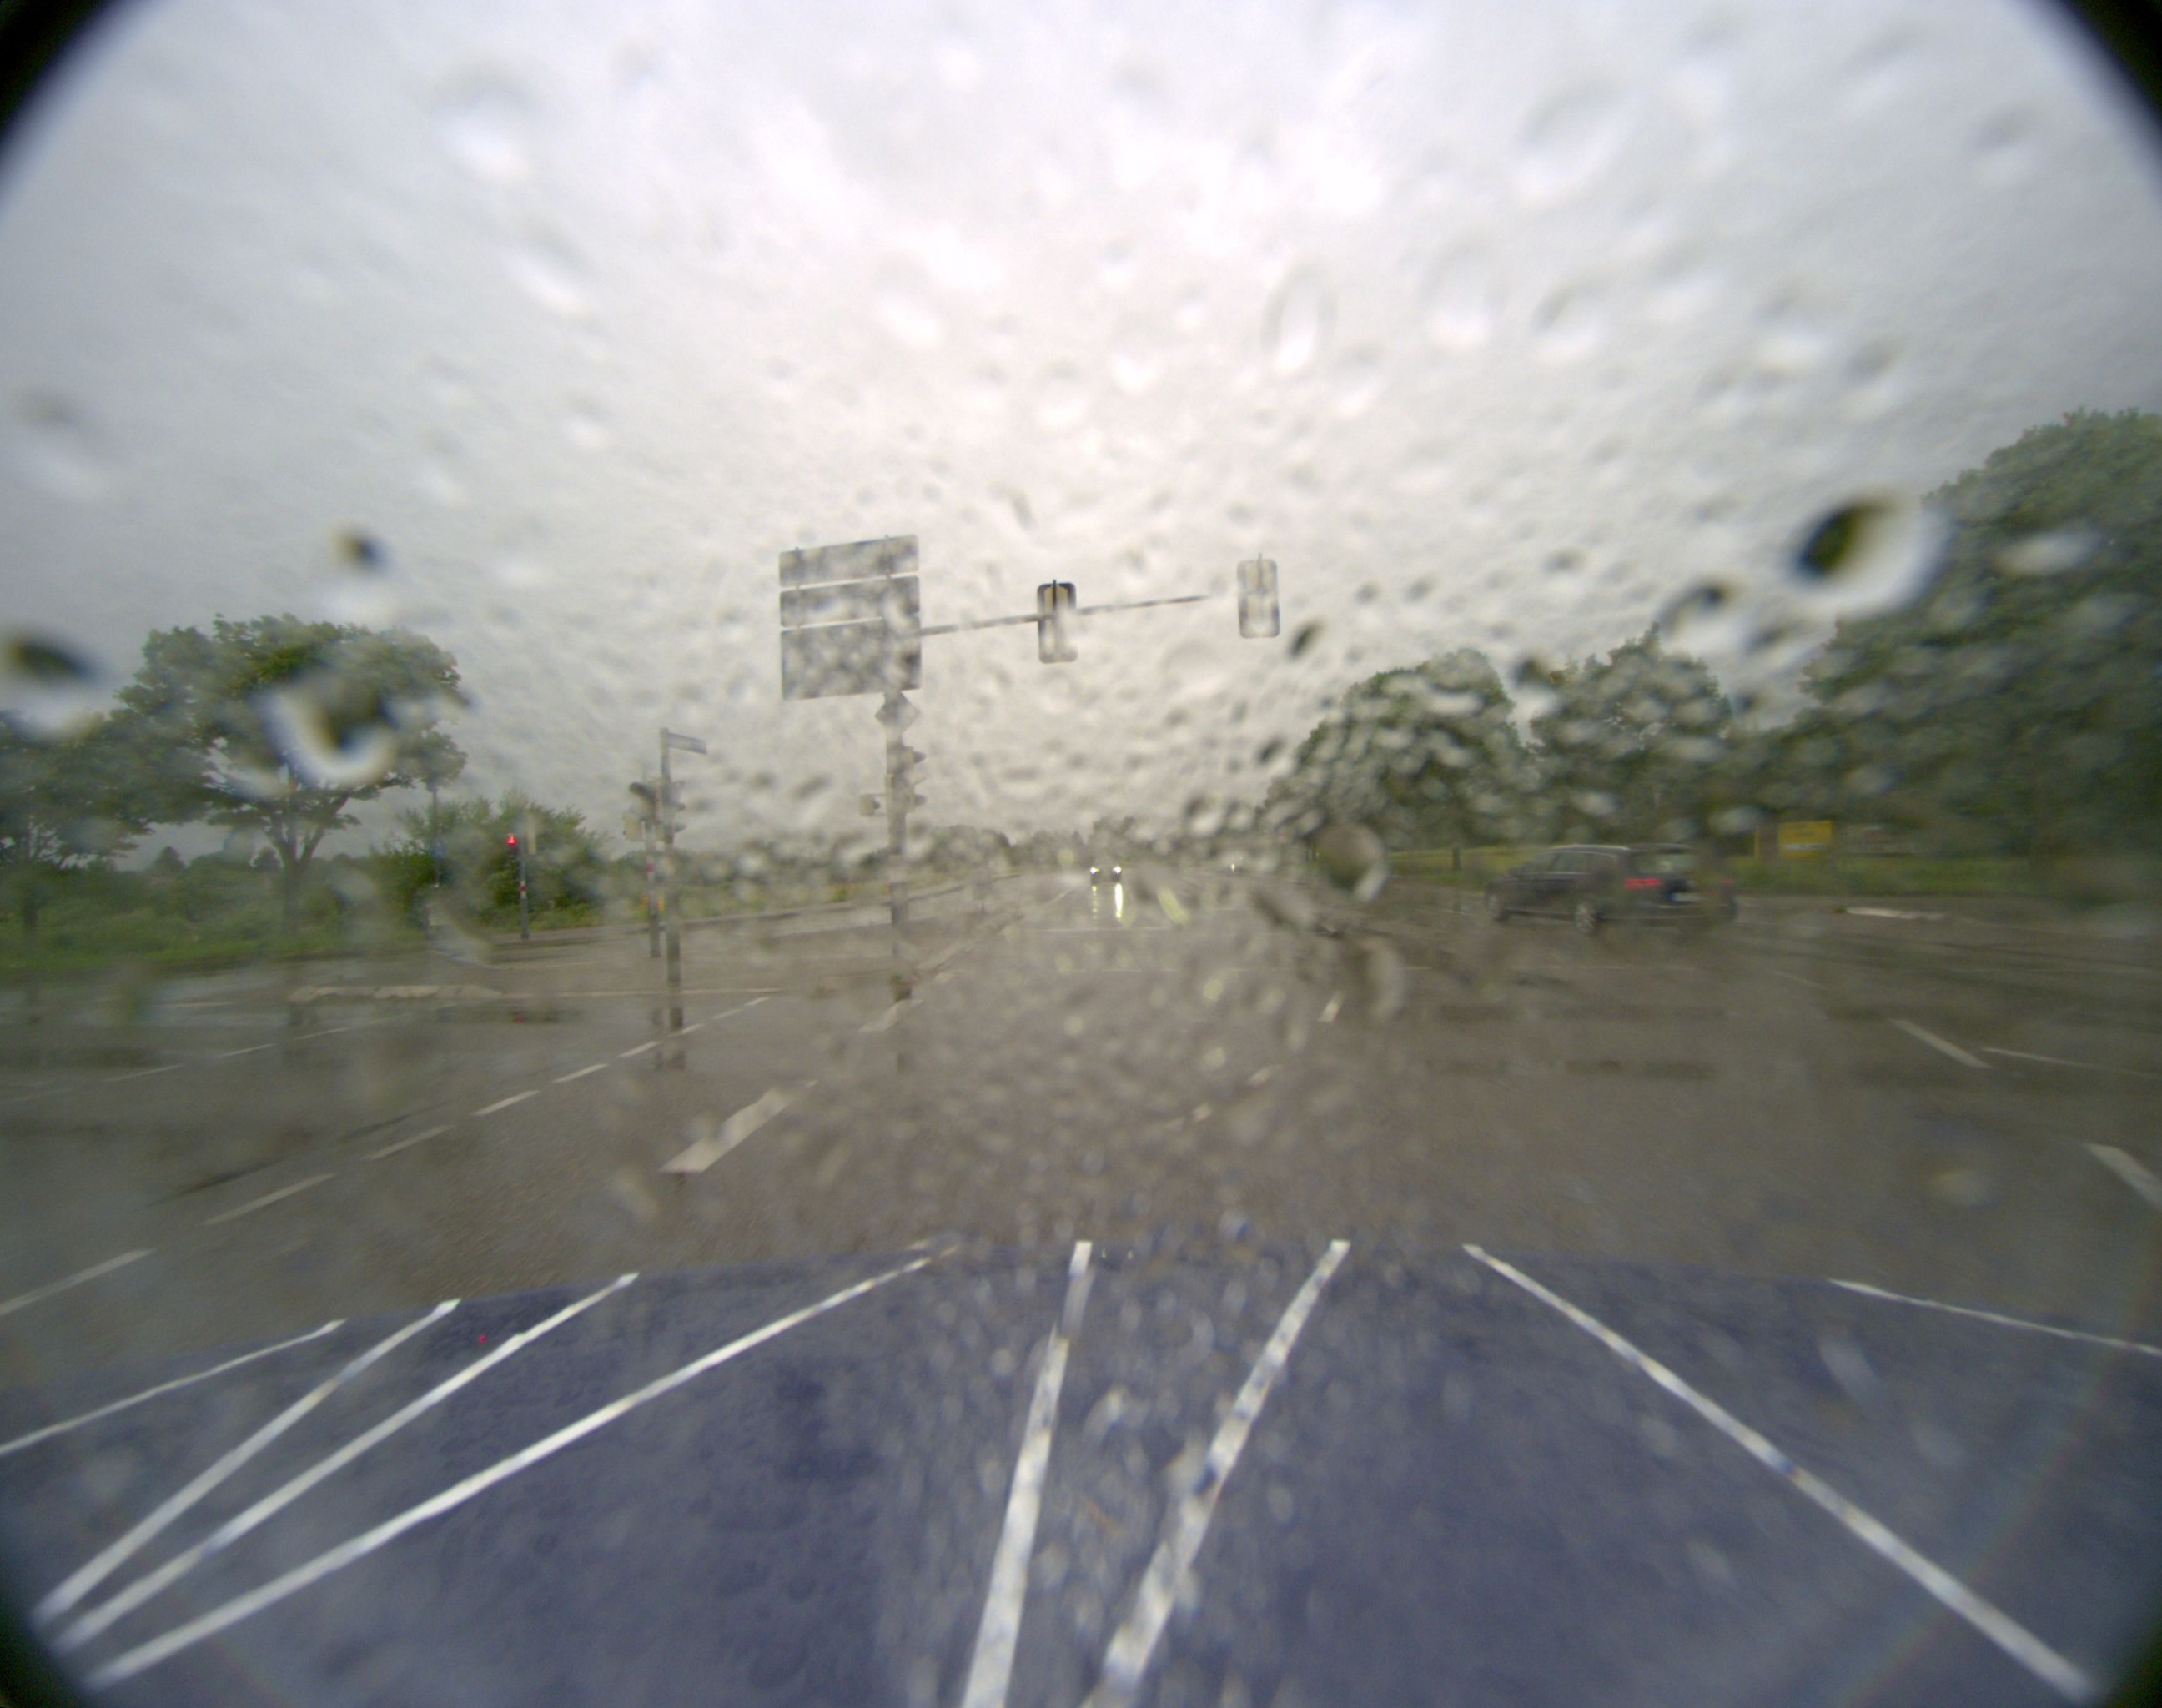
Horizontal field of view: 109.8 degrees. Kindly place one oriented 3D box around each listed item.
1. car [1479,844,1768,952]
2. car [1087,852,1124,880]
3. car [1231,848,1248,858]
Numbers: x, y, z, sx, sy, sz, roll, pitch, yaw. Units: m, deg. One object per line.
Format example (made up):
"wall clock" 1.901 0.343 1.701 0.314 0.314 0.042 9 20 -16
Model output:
"car" 8.766 0.607 12.869 1.713 1.457 4.452 -2 1 0
"car" 1.417 0.684 46.009 1.916 1.576 4.102 -2 1 -2
"car" 29.605 -0.176 141.503 1.912 1.678 4.110 -2 1 29
